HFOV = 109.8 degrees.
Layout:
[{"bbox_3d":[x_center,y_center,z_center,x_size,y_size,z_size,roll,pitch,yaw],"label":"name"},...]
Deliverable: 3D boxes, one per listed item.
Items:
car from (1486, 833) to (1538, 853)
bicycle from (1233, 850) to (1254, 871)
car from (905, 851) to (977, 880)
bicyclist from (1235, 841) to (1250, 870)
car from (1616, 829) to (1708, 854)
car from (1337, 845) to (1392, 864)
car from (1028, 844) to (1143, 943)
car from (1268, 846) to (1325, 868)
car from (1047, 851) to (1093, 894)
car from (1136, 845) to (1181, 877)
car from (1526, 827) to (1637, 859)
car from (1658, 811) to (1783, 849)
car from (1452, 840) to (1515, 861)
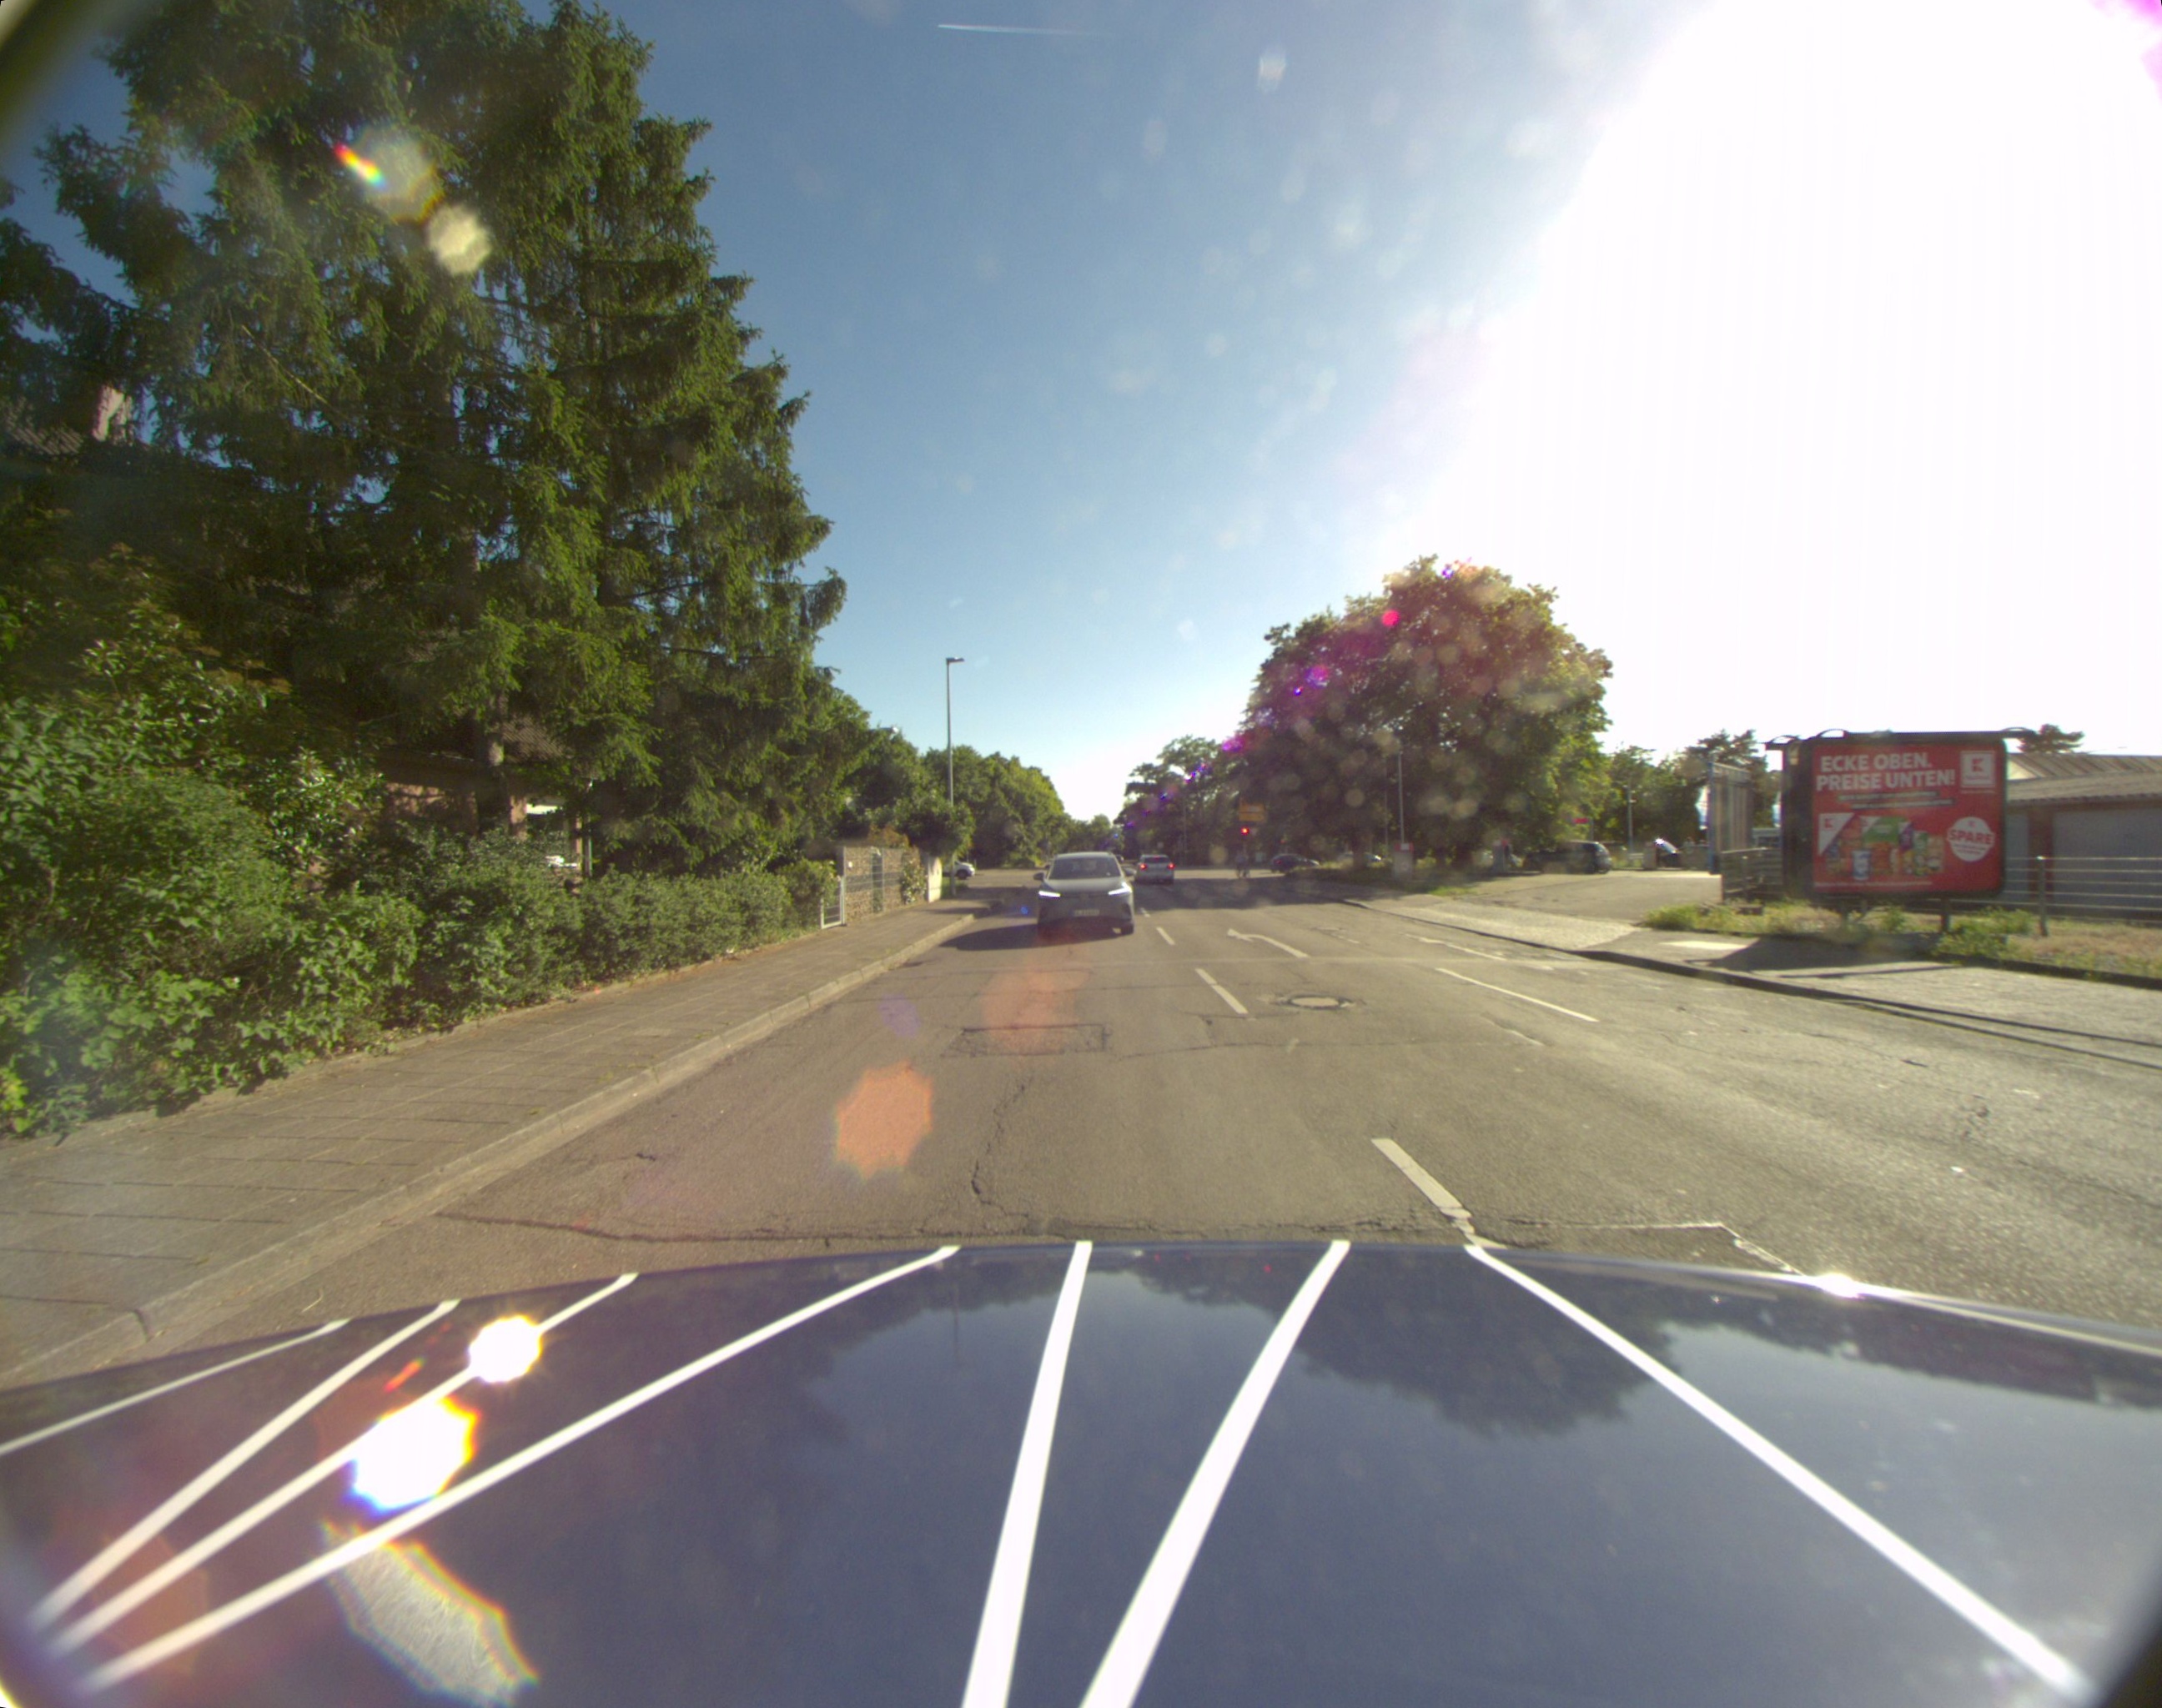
[{"bbox_3d":[38.689,-0.999,68.223,3.912,1.432,1.691,-6,2,-11],"label":"car"},{"bbox_3d":[9.317,0.362,43.582,0.529,1.135,2.025,-3,1,-5],"label":"bicycle"},{"bbox_3d":[-9.885,0.777,53.805,4.866,1.830,1.862,-2,1,-11],"label":"car"},{"bbox_3d":[9.298,0.088,43.656,0.542,1.632,0.829,-3,1,-5],"label":"bicyclist"},{"bbox_3d":[33.158,-0.754,43.468,1.574,1.330,3.896,-4,3,-31],"label":"car"},{"bbox_3d":[23.895,0.025,64.073,3.988,1.533,1.626,0,4,34],"label":"car"},{"bbox_3d":[0.182,0.693,15.936,1.992,1.631,4.364,-4,1,3],"label":"car"},{"bbox_3d":[16.916,0.222,59.757,3.912,1.432,1.690,-4,3,-11],"label":"car"},{"bbox_3d":[-0.473,0.716,32.223,1.692,1.564,4.120,-4,1,-1],"label":"car"},{"bbox_3d":[3.925,0.324,39.224,1.841,1.480,4.889,-2,1,0],"label":"car"},{"bbox_3d":[23.409,-0.554,35.669,1.762,1.369,3.989,-4,3,-35],"label":"car"},{"bbox_3d":[38.449,-1.496,45.904,2.001,2.088,5.644,-3,3,-15],"label":"car"},{"bbox_3d":[33.338,-0.335,62.943,4.365,1.478,1.918,-2,3,-10],"label":"car"}]
